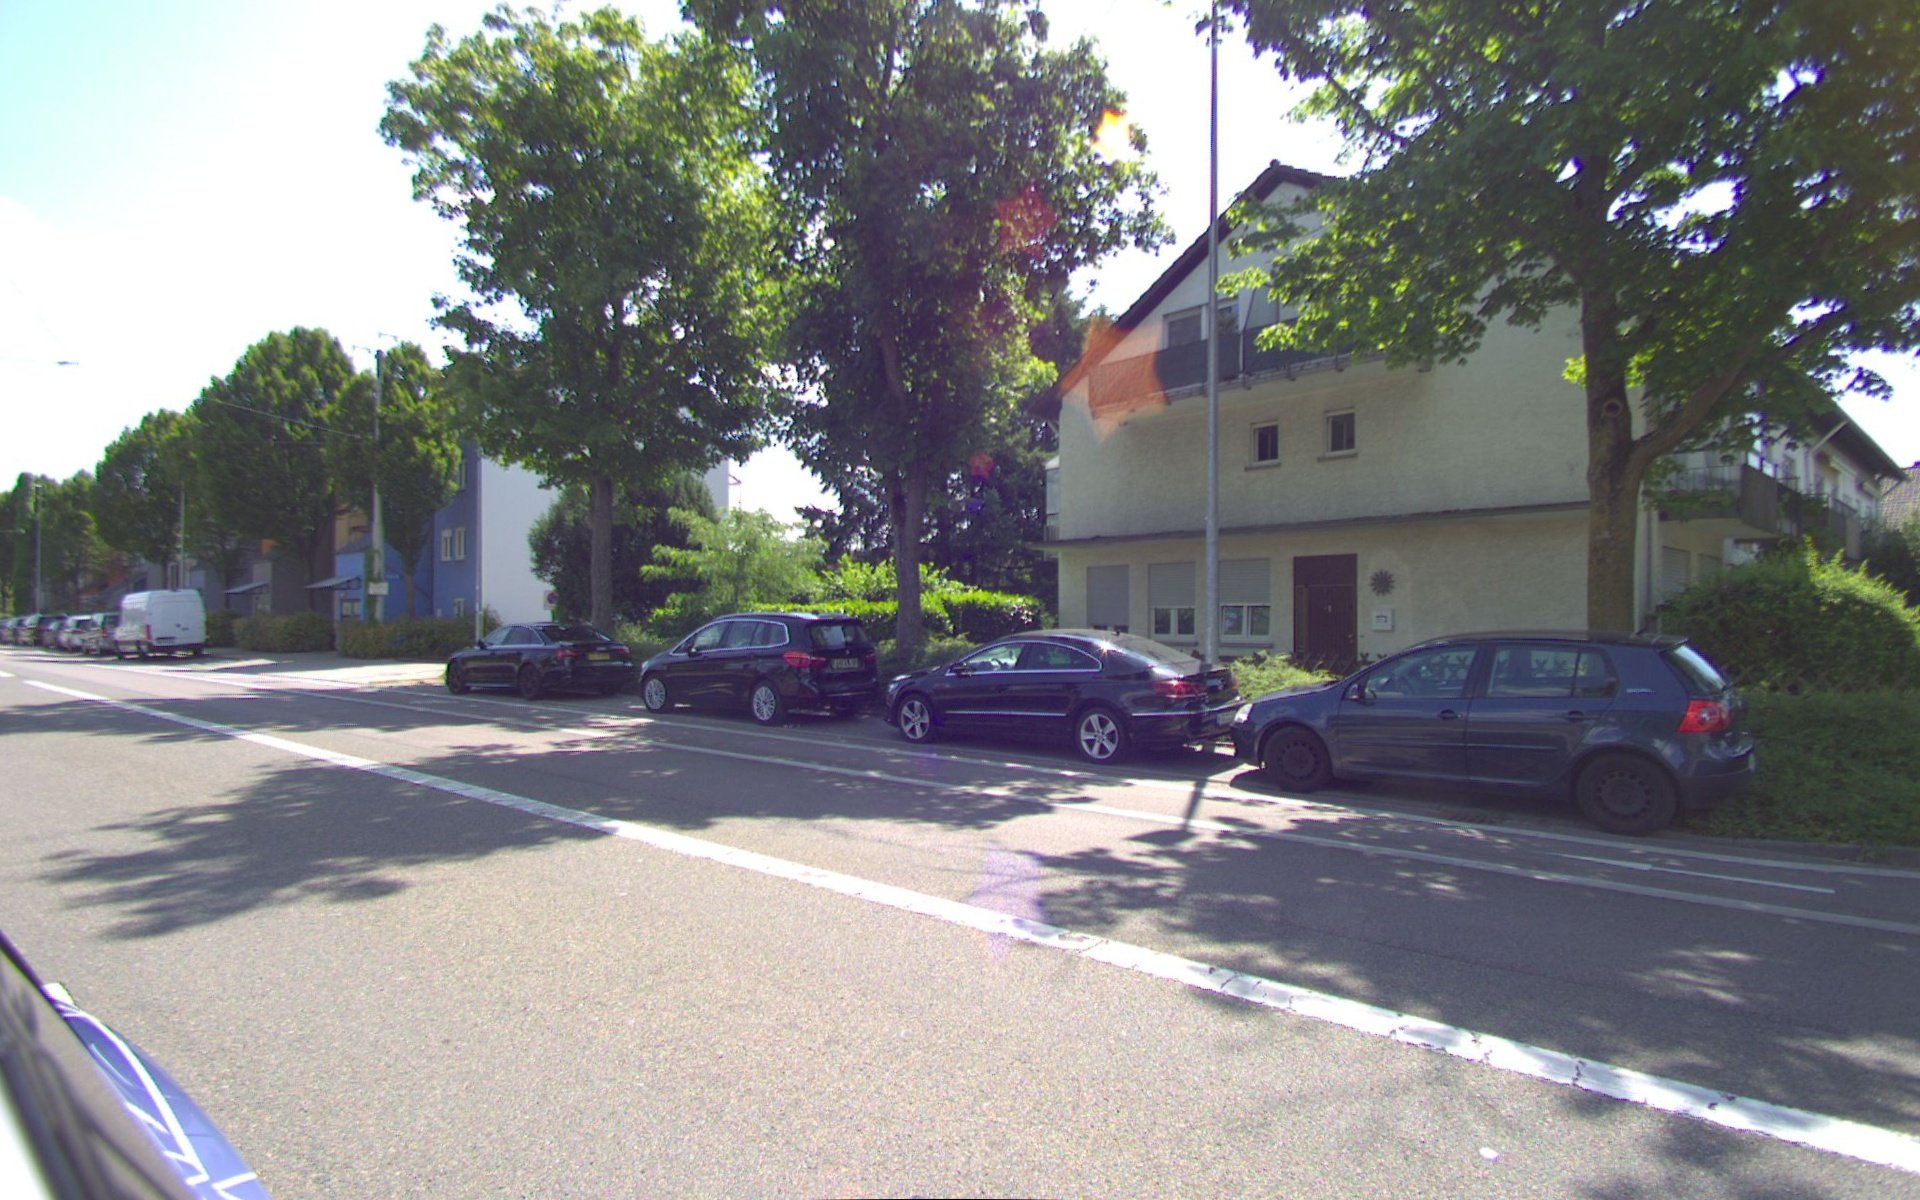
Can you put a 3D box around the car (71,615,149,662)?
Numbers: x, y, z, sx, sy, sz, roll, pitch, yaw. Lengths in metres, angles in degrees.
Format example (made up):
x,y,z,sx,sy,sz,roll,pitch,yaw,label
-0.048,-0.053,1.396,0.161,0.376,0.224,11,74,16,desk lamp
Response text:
x,y,z,sx,sy,sz,roll,pitch,yaw,label
-38.525,1.706,45.805,5.358,1.909,1.788,-1,0,40,car

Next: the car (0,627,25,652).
x,y,z,sx,sy,sz,roll,pitch,yaw,label
-59.965,2.429,62.941,4.954,1.457,1.726,-1,0,36,car

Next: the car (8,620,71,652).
x,y,z,sx,sy,sz,roll,pitch,yaw,label
-50.933,1.980,55.973,4.880,1.729,1.734,-2,-2,37,car

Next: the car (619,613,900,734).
x,y,z,sx,sy,sz,roll,pitch,yaw,label
-3.241,1.036,15.798,4.632,1.616,1.757,-1,-1,39,car

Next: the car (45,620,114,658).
x,y,z,sx,sy,sz,roll,pitch,yaw,label
-42.938,1.851,49.328,4.899,1.765,1.699,-1,-2,39,car

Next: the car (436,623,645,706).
x,y,z,sx,sy,sz,roll,pitch,yaw,label
-8.392,1.189,20.052,4.799,1.467,1.757,-1,-2,39,car

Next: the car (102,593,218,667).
x,y,z,sx,sy,sz,roll,pitch,yaw,label
-32.231,1.176,40.690,7.031,2.671,2.300,-2,2,41,car

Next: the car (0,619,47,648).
x,y,z,sx,sy,sz,roll,pitch,yaw,label
-55.193,1.954,59.363,4.278,1.630,1.640,0,-2,37,car

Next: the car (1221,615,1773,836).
x,y,z,sx,sy,sz,roll,pitch,yaw,label
4.600,0.915,8.996,4.044,1.492,1.757,-1,0,40,car

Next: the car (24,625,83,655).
x,y,z,sx,sy,sz,roll,pitch,yaw,label
-47.096,2.042,52.571,4.082,1.482,1.583,-1,-2,38,car

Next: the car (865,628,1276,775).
x,y,z,sx,sy,sz,roll,pitch,yaw,label
1.169,1.059,12.148,4.691,1.383,1.757,-1,0,39,car
